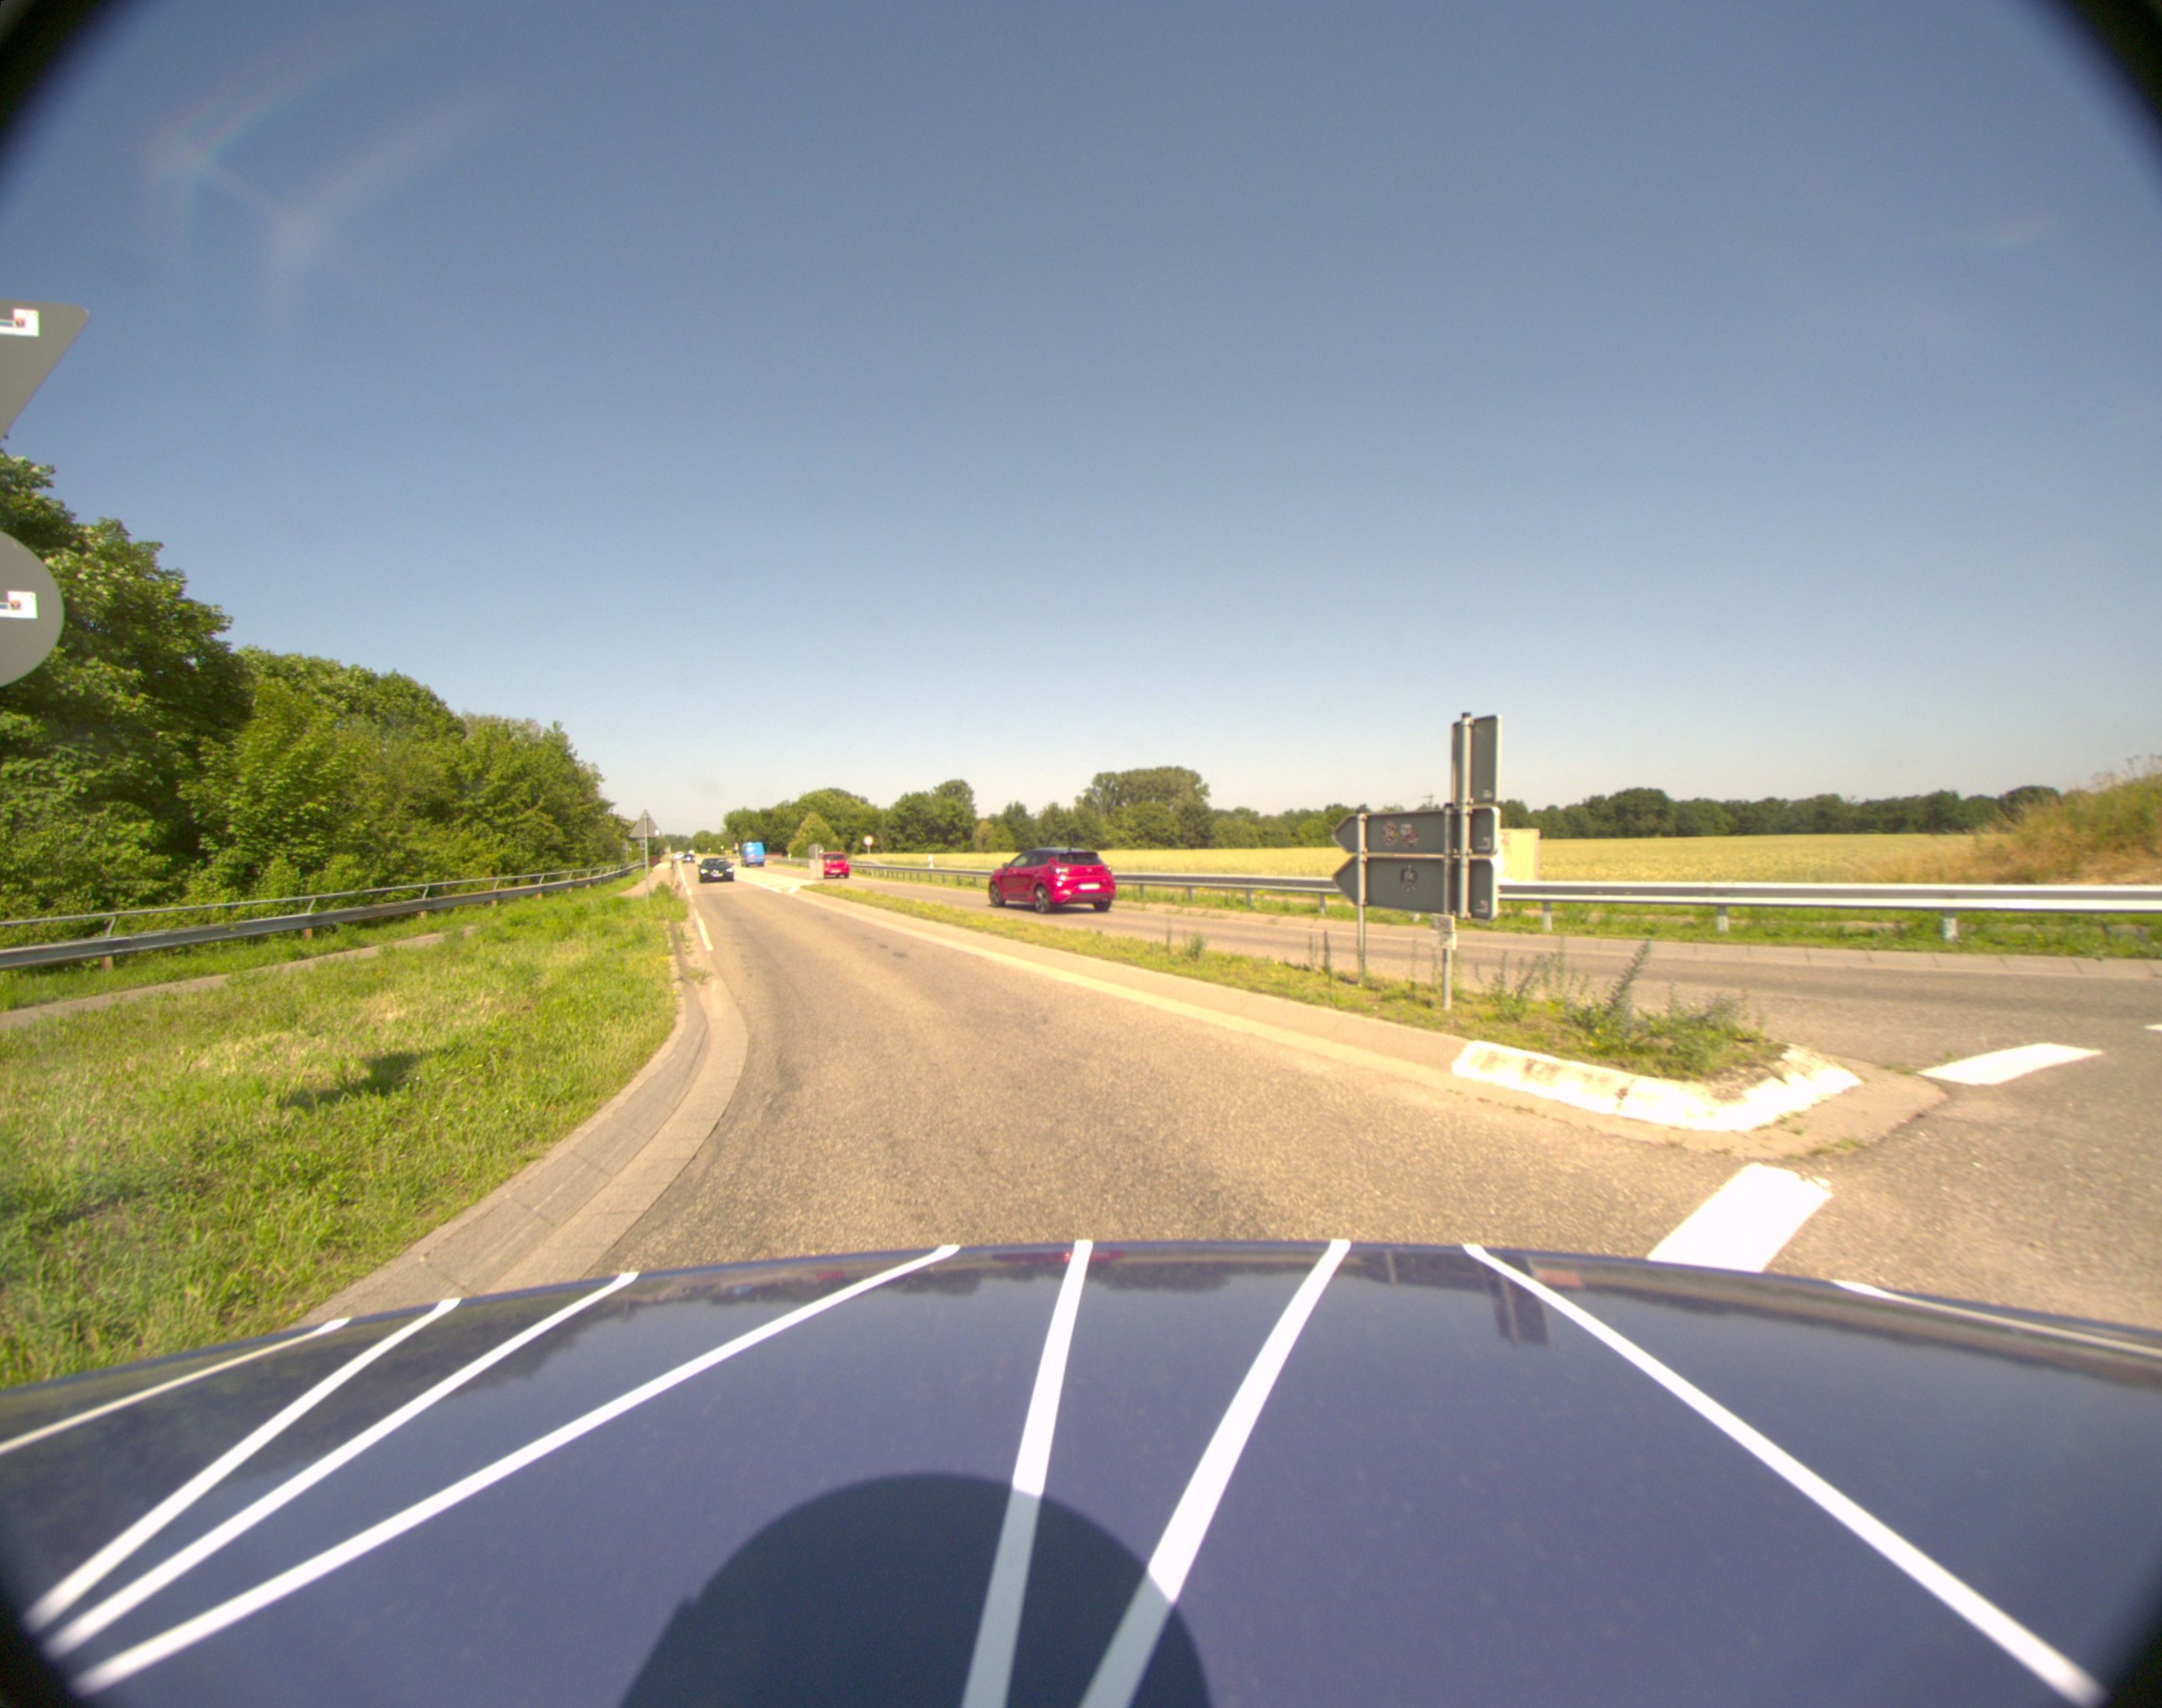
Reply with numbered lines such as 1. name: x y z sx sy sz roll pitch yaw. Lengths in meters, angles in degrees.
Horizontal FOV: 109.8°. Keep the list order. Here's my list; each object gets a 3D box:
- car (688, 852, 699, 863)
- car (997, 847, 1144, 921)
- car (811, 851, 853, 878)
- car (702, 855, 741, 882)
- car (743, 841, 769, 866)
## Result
1. car: -65.213 0.602 127.796 1.464 1.638 3.528 -4 2 -28
2. car: -0.363 0.649 17.923 1.752 1.514 3.822 -2 0 -31
3. car: -14.621 0.569 44.434 1.635 1.482 3.793 -2 1 -29
4. car: -21.017 0.798 44.324 1.810 1.390 4.170 -4 2 -27
5. car: -36.262 -0.075 84.764 2.003 2.596 7.273 -1 1 -28
